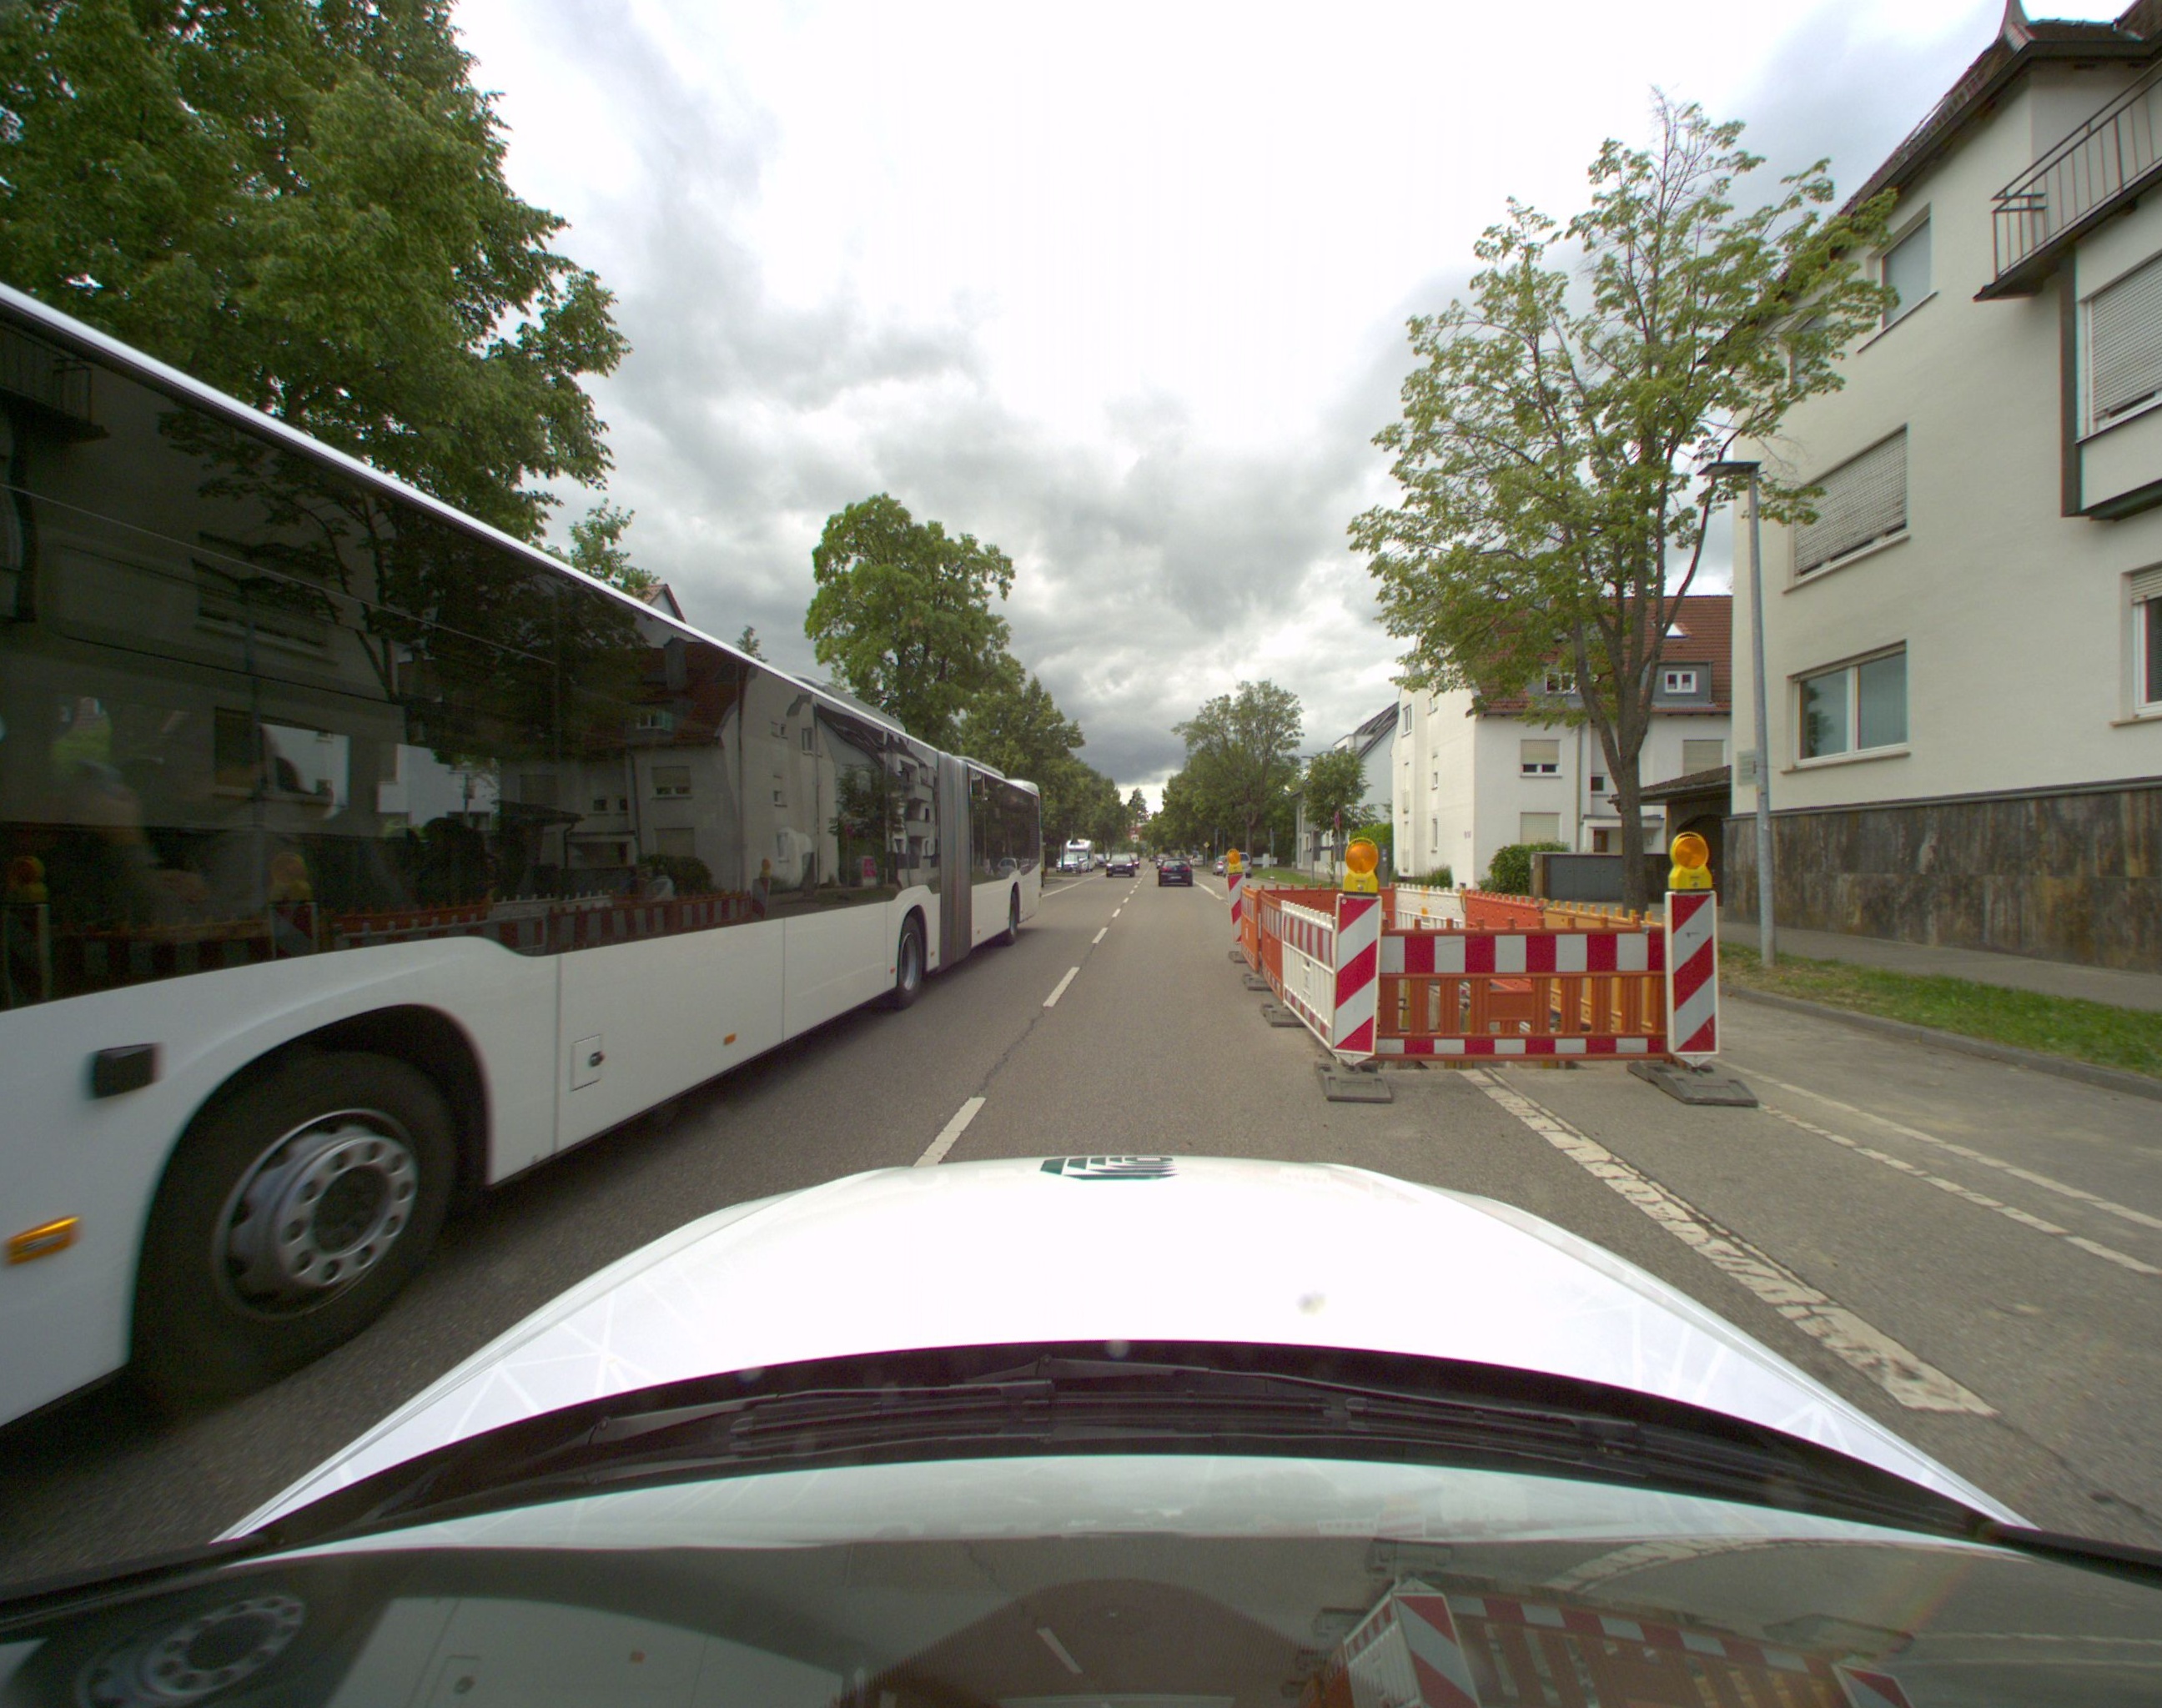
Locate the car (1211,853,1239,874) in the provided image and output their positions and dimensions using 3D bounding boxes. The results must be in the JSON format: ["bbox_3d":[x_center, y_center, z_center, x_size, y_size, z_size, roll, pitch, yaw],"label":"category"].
[{"bbox_3d":[10.702,0.683,60.665,1.679,1.493,4.233,-1,0,5],"label":"car"}]

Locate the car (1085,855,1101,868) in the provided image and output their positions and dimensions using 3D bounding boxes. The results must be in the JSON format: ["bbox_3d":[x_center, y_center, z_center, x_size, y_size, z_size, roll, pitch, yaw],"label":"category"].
[{"bbox_3d":[1.338,0.829,91.740,1.548,1.470,4.456,0,0,4],"label":"car"}]

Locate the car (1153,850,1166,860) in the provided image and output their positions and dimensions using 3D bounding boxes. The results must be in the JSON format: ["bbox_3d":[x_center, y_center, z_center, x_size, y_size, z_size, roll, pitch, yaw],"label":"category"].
[{"bbox_3d":[12.159,0.134,126.191,1.985,1.530,4.004,0,0,3],"label":"car"}]

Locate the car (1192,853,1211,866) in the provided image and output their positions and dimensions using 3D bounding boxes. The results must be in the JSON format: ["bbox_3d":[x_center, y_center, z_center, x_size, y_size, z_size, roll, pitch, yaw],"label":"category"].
[{"bbox_3d":[14.515,0.631,98.561,2.011,1.443,5.033,0,0,6],"label":"car"}]

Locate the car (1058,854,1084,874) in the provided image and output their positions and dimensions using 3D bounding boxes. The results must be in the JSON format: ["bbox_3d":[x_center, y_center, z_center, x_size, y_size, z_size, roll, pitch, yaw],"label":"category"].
[{"bbox_3d":[-0.801,0.792,67.167,1.714,1.600,4.279,0,0,6],"label":"car"}]

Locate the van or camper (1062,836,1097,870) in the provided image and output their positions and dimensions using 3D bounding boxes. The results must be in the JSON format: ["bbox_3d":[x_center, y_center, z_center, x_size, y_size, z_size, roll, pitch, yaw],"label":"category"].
[{"bbox_3d":[-0.072,-0.083,75.770,2.423,3.009,7.704,0,0,5],"label":"van or camper"}]

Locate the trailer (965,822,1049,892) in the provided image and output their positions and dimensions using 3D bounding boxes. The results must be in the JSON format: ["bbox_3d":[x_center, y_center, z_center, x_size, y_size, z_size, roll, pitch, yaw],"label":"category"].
[{"bbox_3d":[-3.278,0.151,38.289,2.661,2.941,7.484,0,-1,5],"label":"trailer"}]

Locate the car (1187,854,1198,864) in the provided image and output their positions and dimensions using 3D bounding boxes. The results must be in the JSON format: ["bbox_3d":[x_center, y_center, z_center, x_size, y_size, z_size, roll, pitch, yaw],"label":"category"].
[{"bbox_3d":[16.240,0.746,118.820,1.629,1.420,4.008,-1,0,7],"label":"car"}]

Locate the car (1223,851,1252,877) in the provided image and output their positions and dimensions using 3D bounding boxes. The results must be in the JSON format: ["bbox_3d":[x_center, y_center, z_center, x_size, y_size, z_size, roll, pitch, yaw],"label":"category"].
[{"bbox_3d":[10.546,0.644,55.086,1.624,1.665,3.653,0,0,5],"label":"car"}]

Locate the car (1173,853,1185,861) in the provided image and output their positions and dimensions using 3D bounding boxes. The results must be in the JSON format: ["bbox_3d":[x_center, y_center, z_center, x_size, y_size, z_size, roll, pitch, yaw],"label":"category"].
[{"bbox_3d":[18.532,0.501,153.809,1.677,1.432,4.044,0,0,0],"label":"car"}]

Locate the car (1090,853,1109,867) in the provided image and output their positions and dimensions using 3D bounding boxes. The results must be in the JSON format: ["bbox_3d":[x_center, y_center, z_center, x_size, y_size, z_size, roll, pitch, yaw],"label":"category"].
[{"bbox_3d":[2.312,0.725,101.524,1.807,1.652,4.708,0,0,7],"label":"car"}]

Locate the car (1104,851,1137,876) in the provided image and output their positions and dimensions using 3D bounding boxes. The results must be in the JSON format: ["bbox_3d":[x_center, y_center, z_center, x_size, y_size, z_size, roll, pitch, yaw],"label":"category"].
[{"bbox_3d":[2.877,0.672,58.556,1.983,1.668,4.598,-2,0,7],"label":"car"}]

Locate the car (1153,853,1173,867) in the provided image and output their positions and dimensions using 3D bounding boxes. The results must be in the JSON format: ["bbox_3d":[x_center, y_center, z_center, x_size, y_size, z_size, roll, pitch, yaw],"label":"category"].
[{"bbox_3d":[9.085,0.680,90.326,1.985,1.558,4.003,0,-1,3],"label":"car"}]

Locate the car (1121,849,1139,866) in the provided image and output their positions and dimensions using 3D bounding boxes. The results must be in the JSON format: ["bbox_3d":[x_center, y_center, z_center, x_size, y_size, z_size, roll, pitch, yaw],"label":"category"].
[{"bbox_3d":[5.457,0.396,90.367,1.752,1.803,4.776,0,0,5],"label":"car"}]

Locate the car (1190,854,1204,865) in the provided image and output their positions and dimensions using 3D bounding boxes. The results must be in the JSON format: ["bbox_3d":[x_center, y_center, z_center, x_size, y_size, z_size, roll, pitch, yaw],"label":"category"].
[{"bbox_3d":[15.173,0.718,106.955,1.608,1.460,3.662,-1,0,5],"label":"car"}]

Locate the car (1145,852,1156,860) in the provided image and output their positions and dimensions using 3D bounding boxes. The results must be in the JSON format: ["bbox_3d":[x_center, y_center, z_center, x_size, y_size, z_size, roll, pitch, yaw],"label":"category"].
[{"bbox_3d":[13.619,0.464,159.468,1.987,1.508,4.000,1,-1,0],"label":"car"}]

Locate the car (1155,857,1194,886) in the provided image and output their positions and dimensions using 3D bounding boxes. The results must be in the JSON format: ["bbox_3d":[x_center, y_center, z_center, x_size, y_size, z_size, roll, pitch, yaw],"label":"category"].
[{"bbox_3d":[4.730,0.865,41.635,1.776,1.449,3.560,0,0,3],"label":"car"}]

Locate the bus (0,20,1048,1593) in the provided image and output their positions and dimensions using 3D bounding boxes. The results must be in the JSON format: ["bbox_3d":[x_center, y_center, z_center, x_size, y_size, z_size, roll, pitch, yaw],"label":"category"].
[{"bbox_3d":[-2.970,-0.011,9.034,2.791,3.288,18.070,0,-1,5],"label":"bus"}]
